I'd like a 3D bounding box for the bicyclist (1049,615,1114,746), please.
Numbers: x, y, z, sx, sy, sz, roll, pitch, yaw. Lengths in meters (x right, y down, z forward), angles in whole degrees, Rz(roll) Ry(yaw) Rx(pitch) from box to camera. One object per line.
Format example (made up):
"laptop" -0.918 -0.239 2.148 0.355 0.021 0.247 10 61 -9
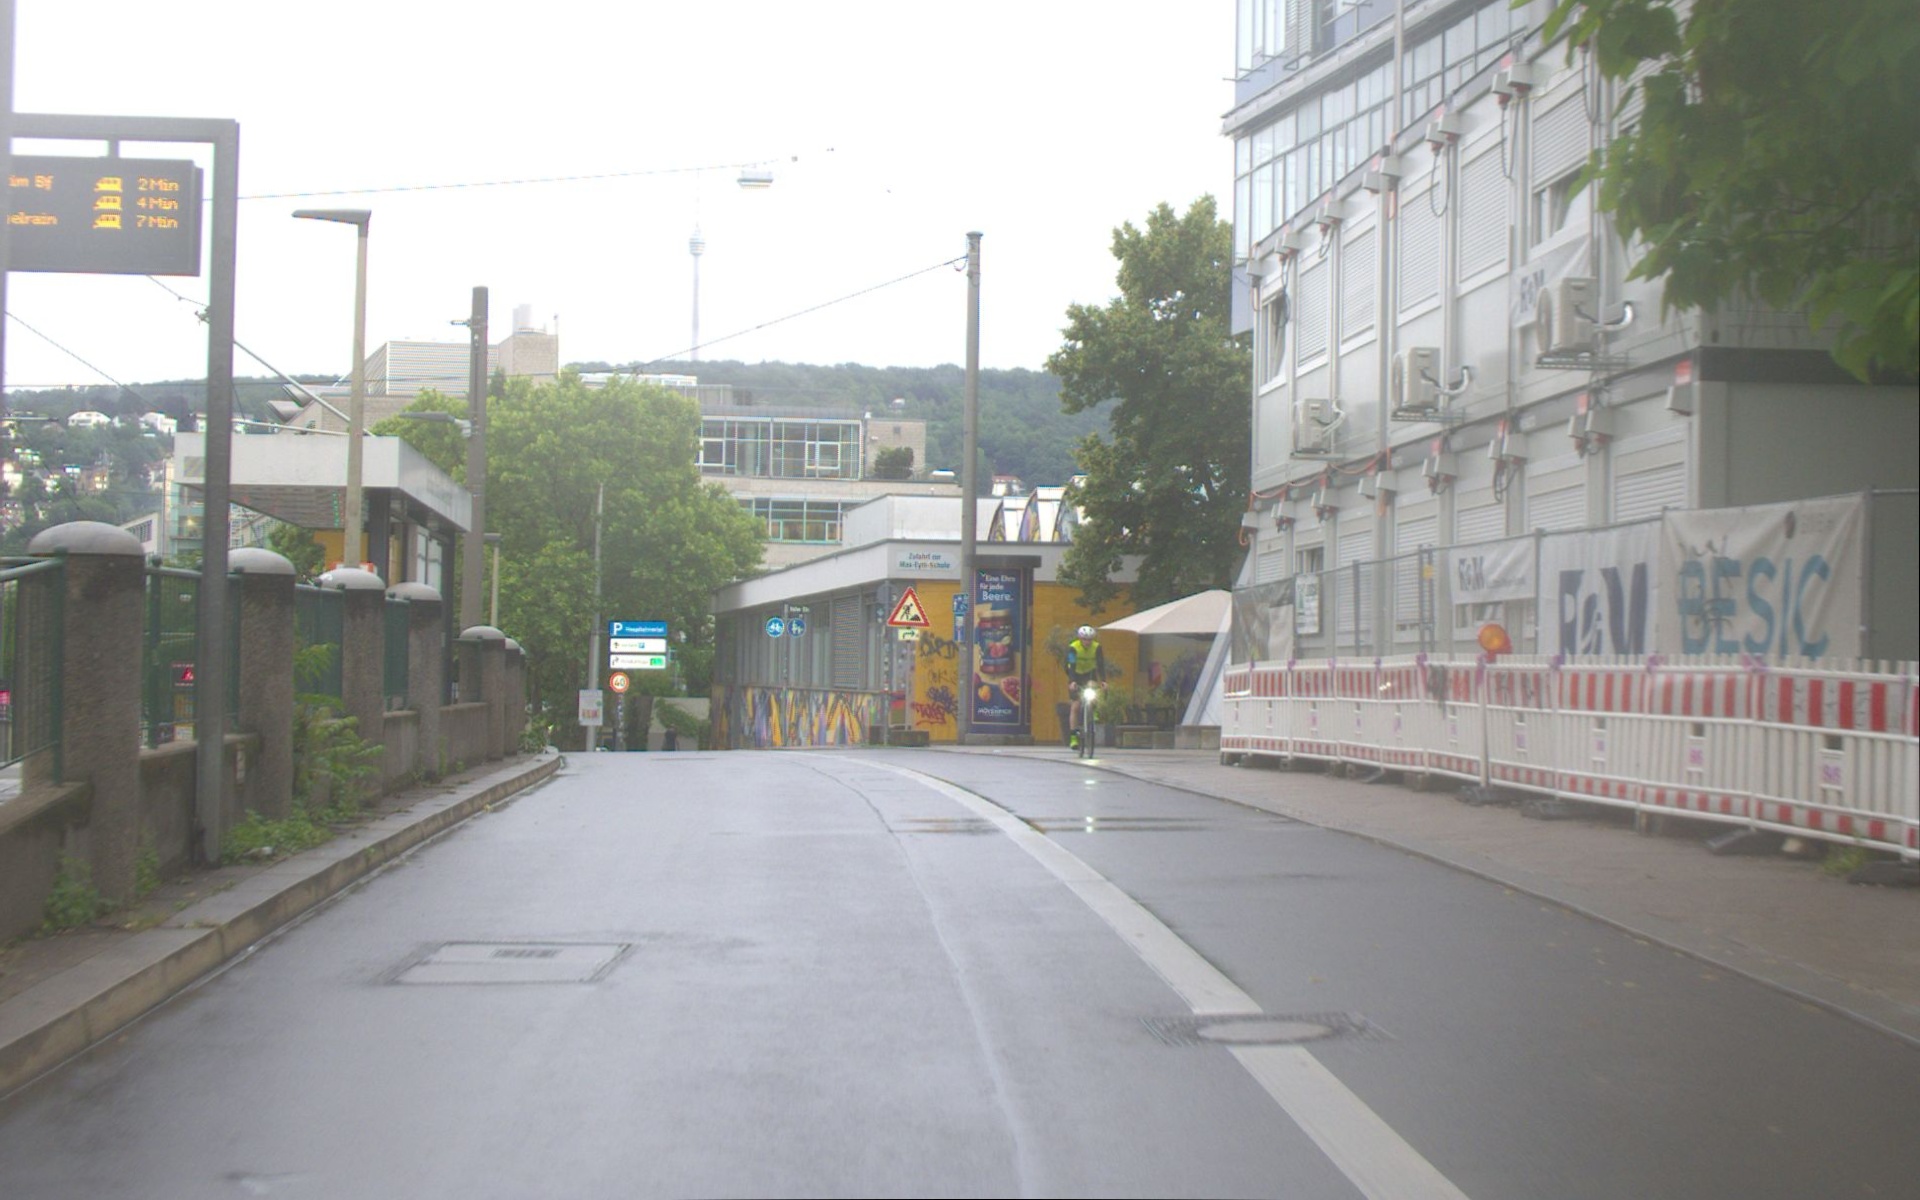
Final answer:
"bicyclist" 1.570 1.043 44.544 0.661 1.633 0.793 -3 -1 -3

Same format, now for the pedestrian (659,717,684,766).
"pedestrian" -11.196 5.491 133.424 0.806 1.858 1.056 -1 -3 -11

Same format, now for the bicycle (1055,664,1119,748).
"bicycle" 1.640 1.385 44.560 0.661 1.049 2.056 1 -3 -2
